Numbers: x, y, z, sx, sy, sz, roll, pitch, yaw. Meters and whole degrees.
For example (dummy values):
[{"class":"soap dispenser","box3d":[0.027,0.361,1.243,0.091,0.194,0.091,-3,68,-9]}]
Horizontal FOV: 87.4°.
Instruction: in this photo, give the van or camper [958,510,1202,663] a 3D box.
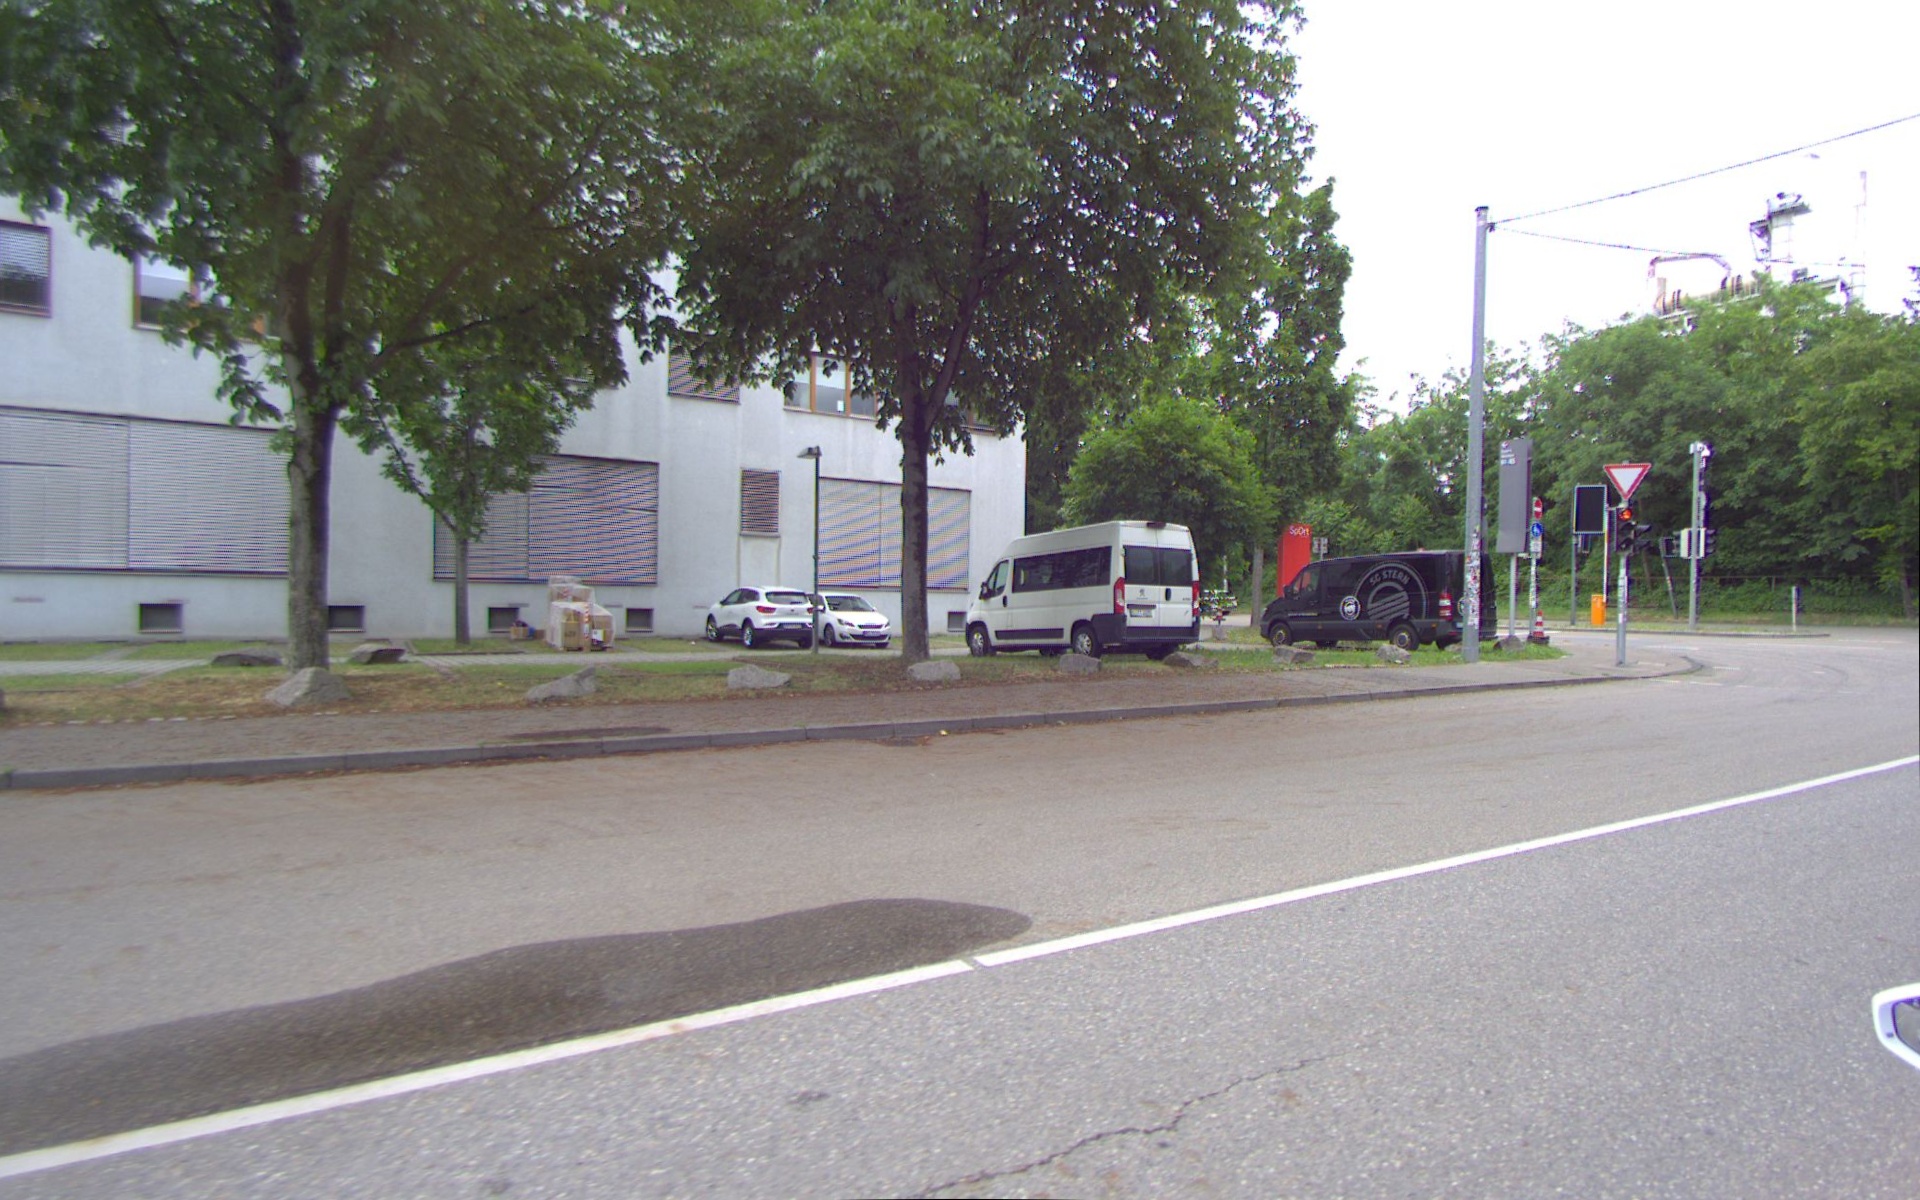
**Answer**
[{"class":"van or camper","box3d":[2.174,-0.251,19.763,2.039,2.604,4.942,2,0,-32]}]

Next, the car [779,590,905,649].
[{"class":"car","box3d":[-3.441,0.523,28.742,1.881,1.475,3.971,2,0,-35]}]

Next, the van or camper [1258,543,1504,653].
[{"class":"van or camper","box3d":[10.095,0.051,24.645,2.037,2.344,5.512,2,-3,-29]}]

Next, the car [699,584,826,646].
[{"class":"car","box3d":[-5.410,0.377,27.176,1.881,1.475,3.971,2,0,-35]}]

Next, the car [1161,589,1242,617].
[{"class":"car","box3d":[14.487,0.163,60.546,1.881,1.475,4.643,2,0,-35]}]
